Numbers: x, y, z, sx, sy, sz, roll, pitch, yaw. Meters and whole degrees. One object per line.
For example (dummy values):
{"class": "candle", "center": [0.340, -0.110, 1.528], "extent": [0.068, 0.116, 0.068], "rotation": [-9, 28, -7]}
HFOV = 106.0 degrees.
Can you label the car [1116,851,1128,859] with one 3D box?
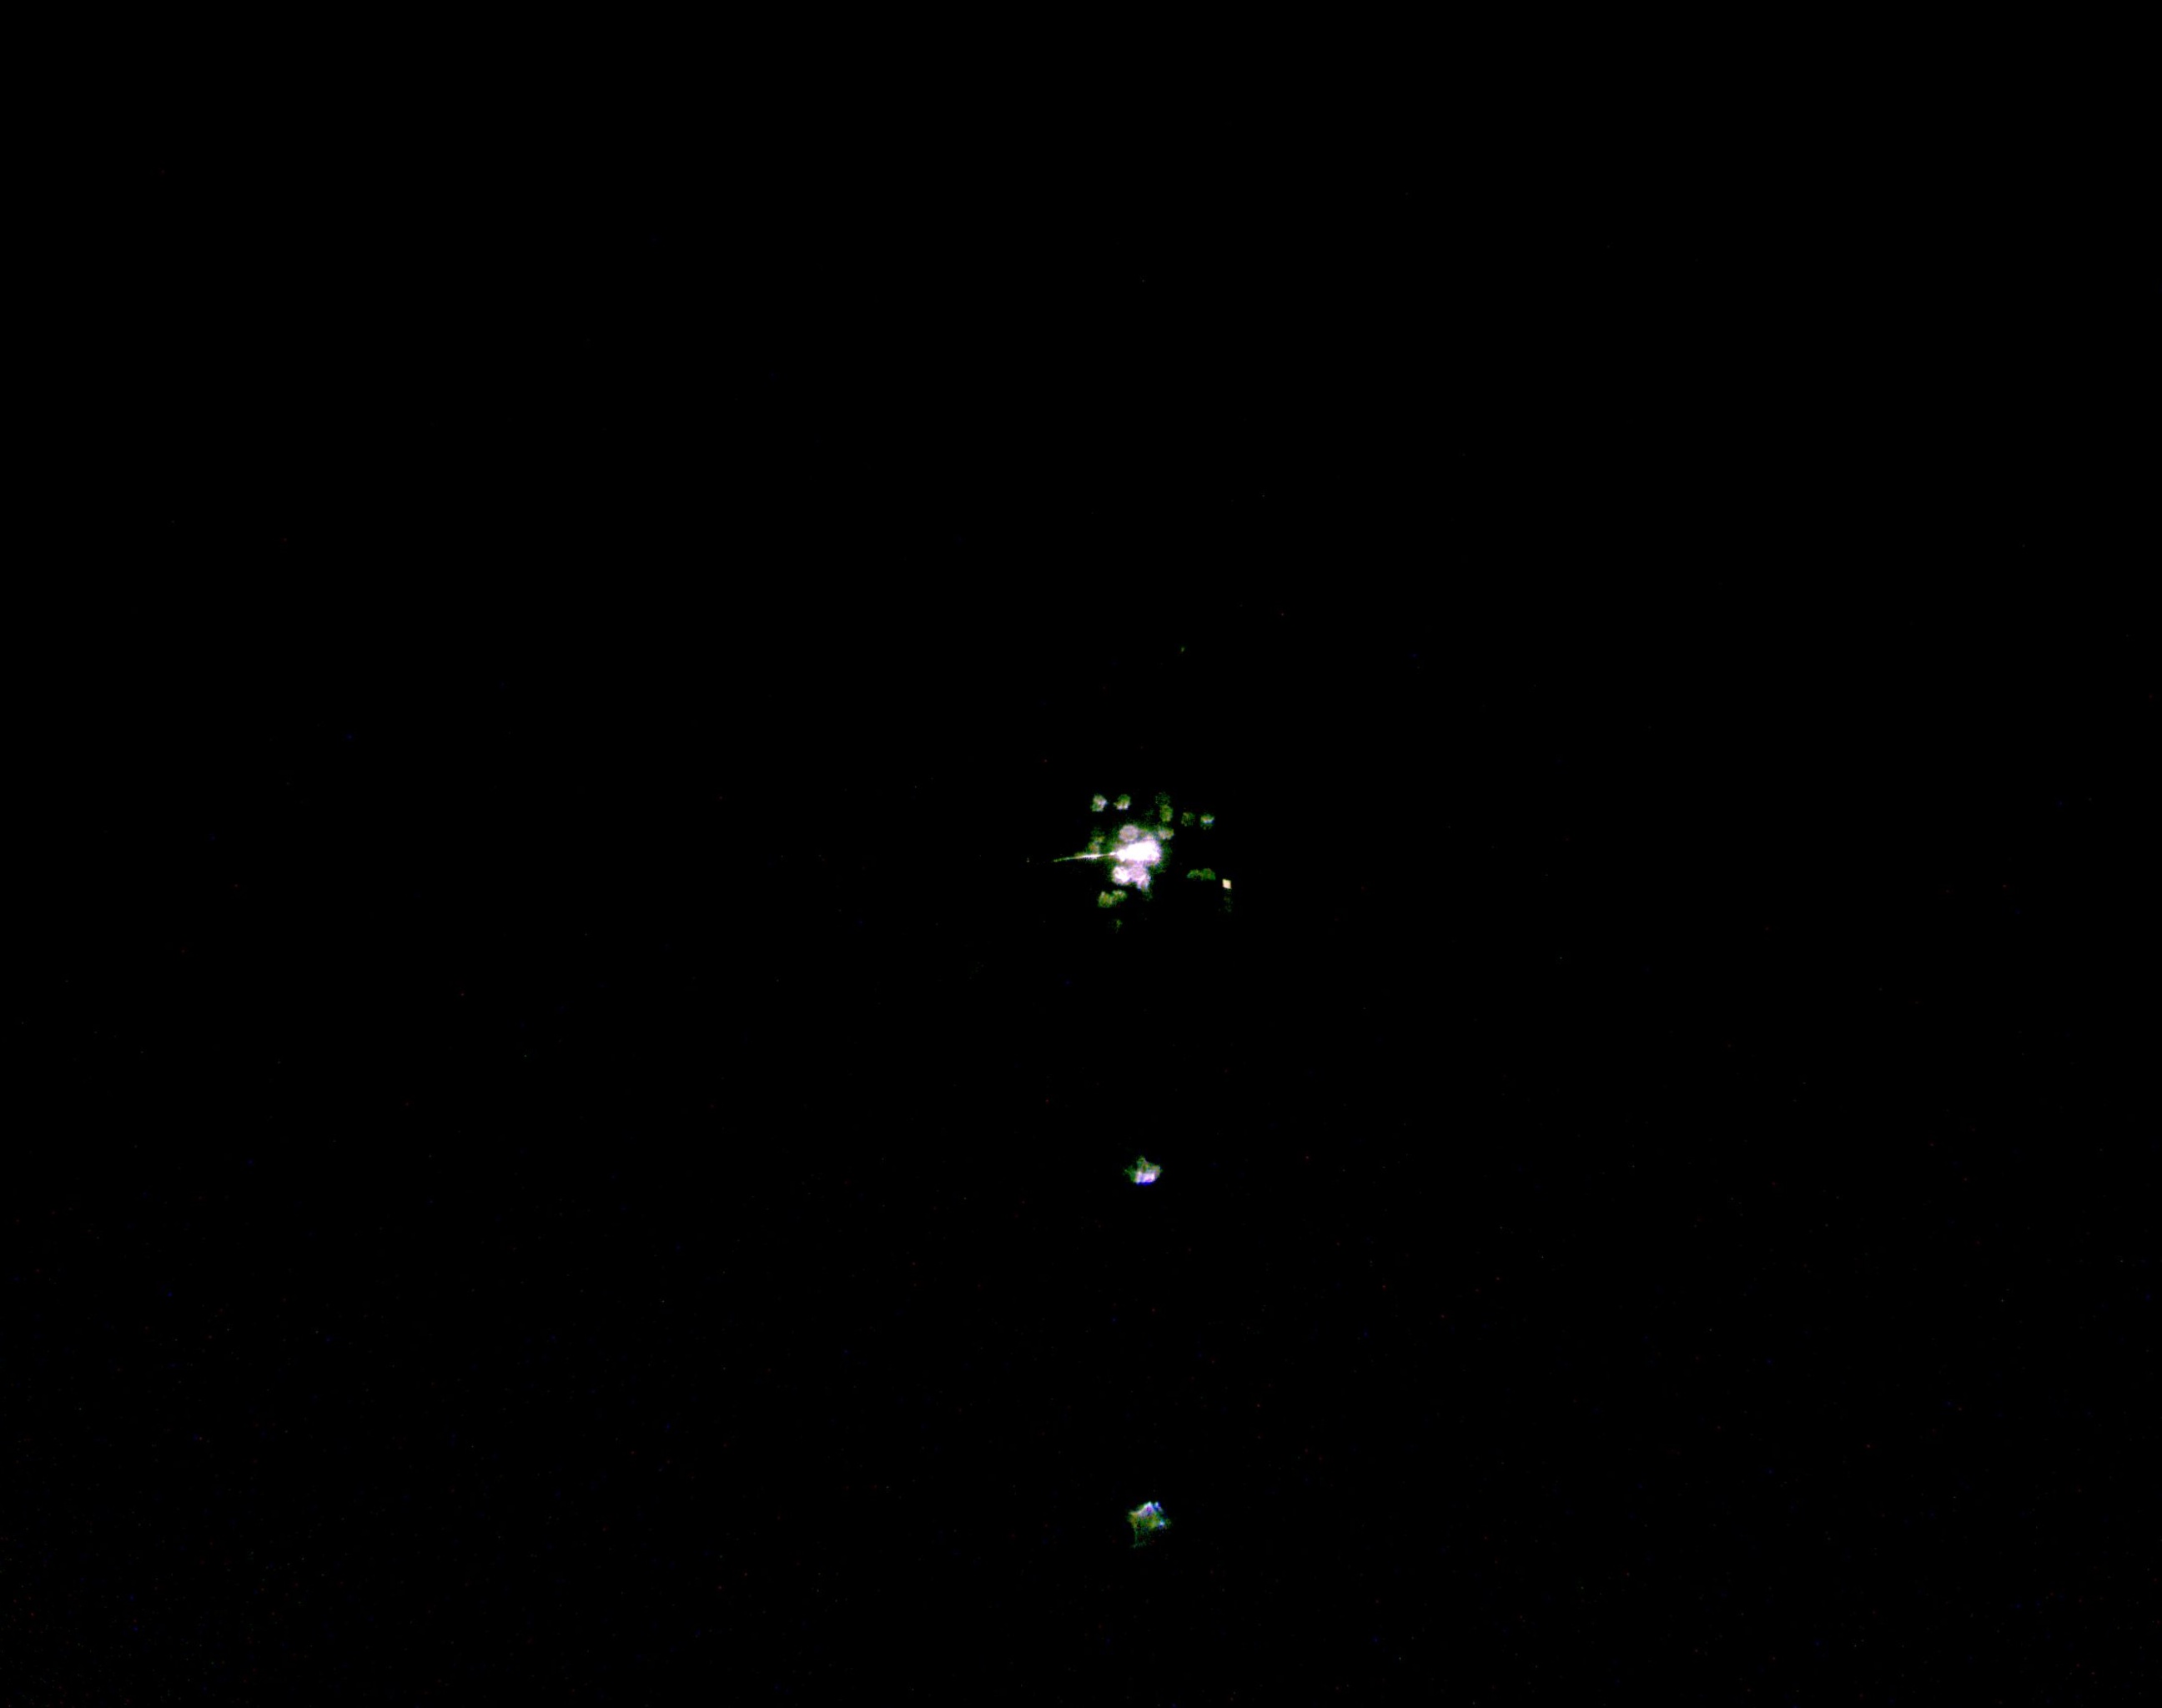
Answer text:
{"class": "car", "center": [7.086, 0.172, 139.624], "extent": [1.984, 1.391, 3.851], "rotation": [-1, 0, 5]}
